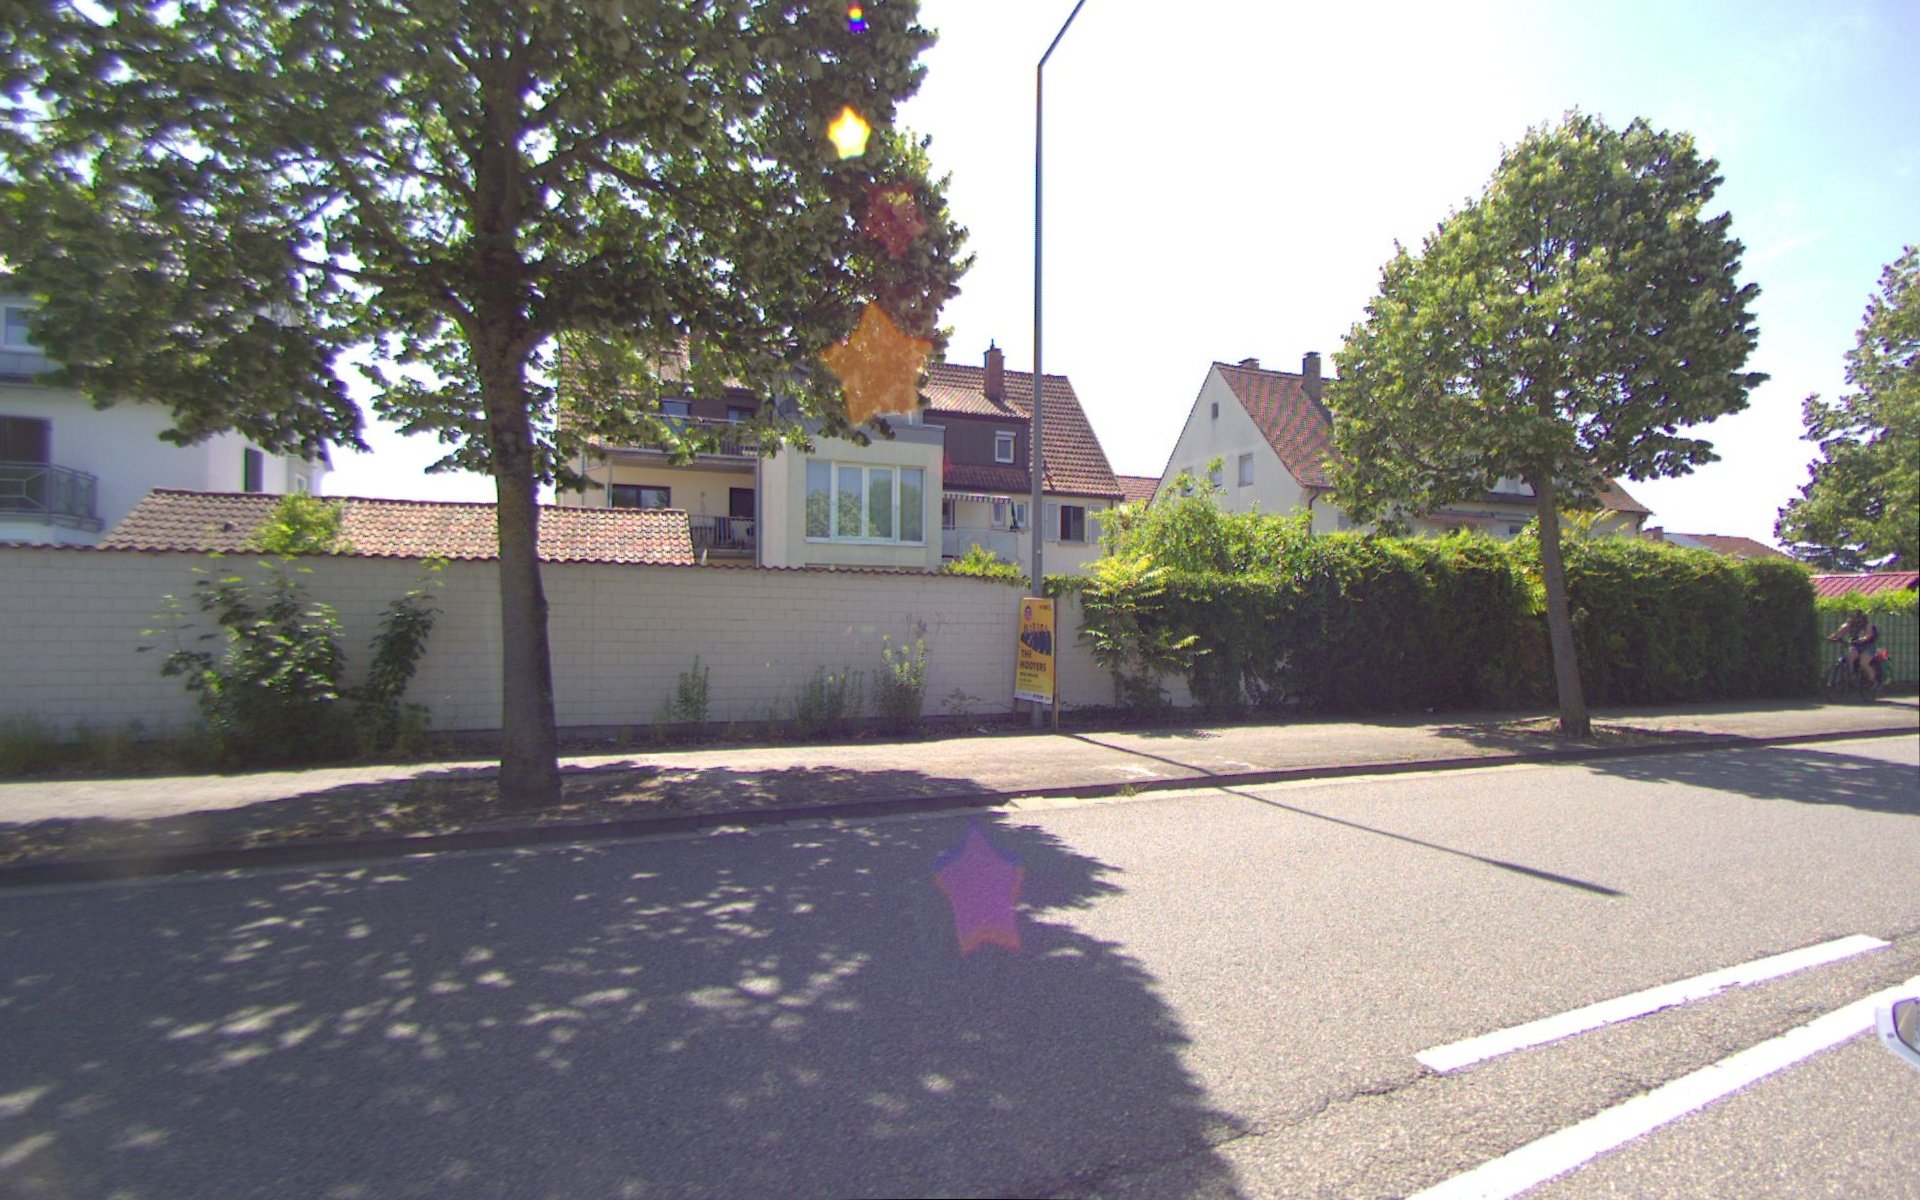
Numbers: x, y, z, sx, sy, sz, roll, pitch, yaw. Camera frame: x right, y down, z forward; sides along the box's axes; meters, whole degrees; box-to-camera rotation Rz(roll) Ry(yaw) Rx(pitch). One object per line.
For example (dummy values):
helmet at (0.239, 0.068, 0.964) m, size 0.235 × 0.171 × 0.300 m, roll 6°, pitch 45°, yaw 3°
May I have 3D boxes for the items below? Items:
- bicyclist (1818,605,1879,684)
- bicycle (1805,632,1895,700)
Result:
bicyclist at (16.341, 0.814, 18.470) m, size 0.668 × 1.427 × 0.626 m, roll 1°, pitch -1°, yaw -26°
bicycle at (16.387, 1.195, 18.488) m, size 1.792 × 1.195 × 0.630 m, roll 1°, pitch -1°, yaw -27°
